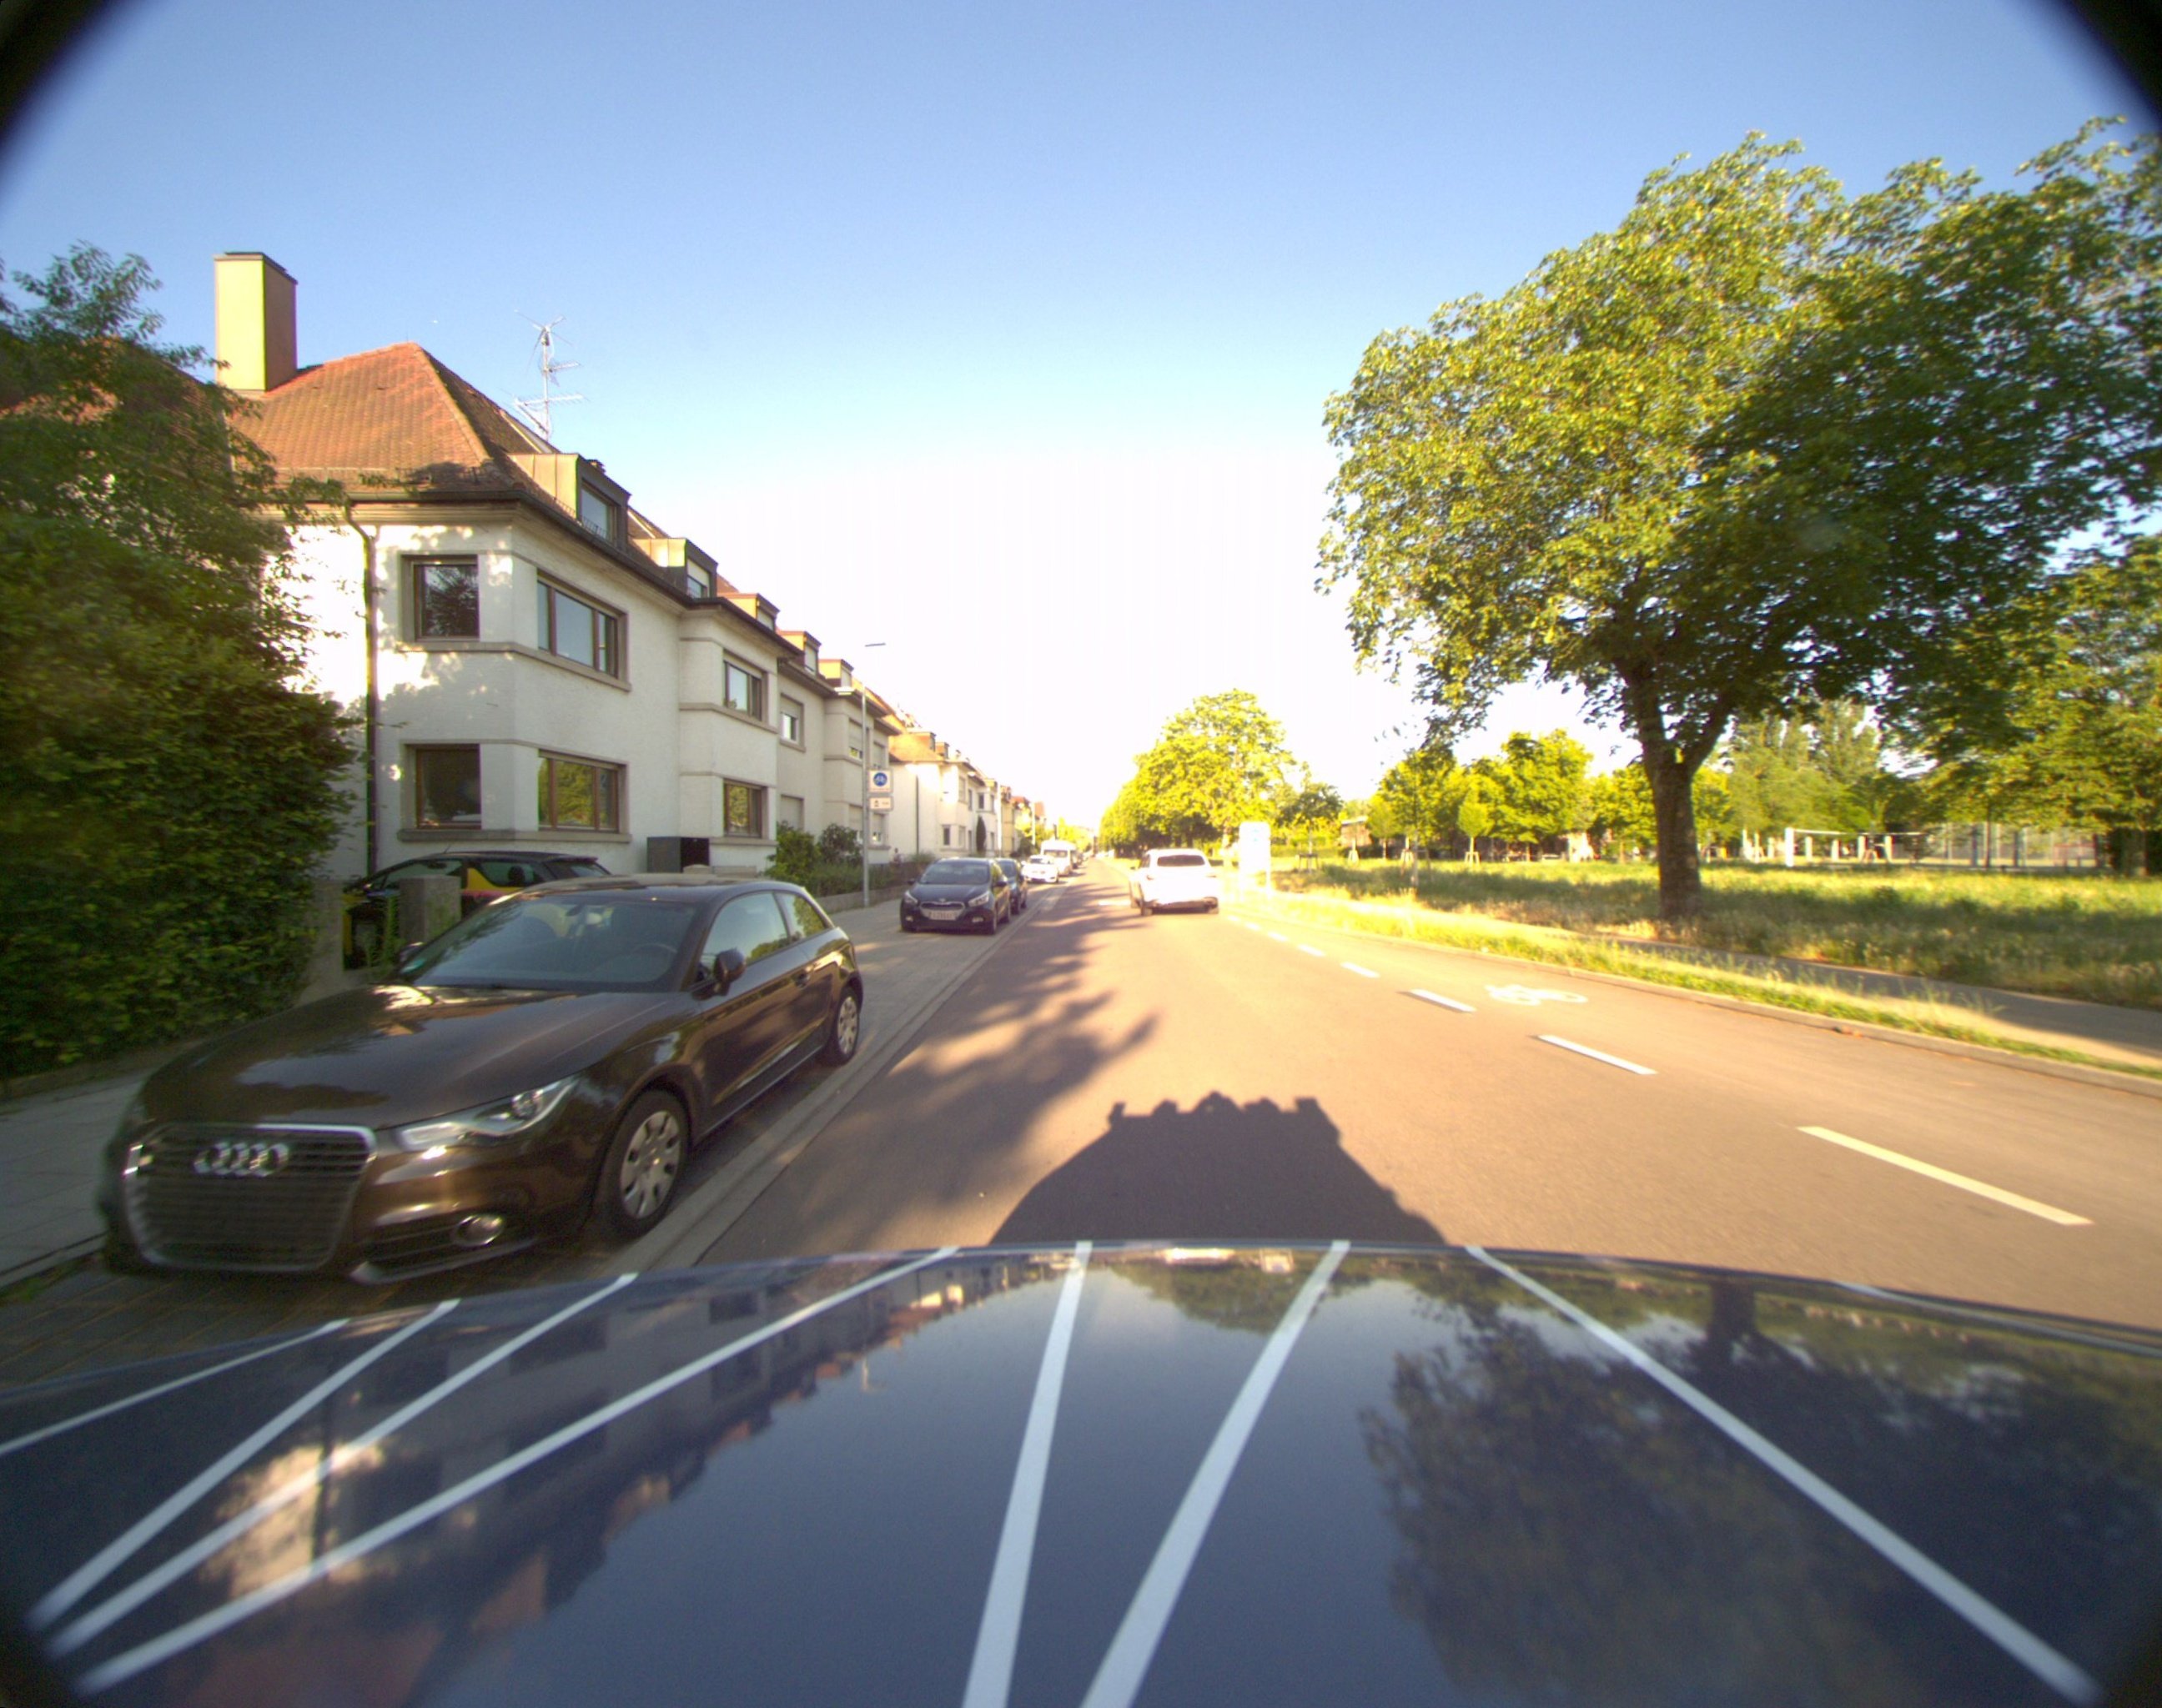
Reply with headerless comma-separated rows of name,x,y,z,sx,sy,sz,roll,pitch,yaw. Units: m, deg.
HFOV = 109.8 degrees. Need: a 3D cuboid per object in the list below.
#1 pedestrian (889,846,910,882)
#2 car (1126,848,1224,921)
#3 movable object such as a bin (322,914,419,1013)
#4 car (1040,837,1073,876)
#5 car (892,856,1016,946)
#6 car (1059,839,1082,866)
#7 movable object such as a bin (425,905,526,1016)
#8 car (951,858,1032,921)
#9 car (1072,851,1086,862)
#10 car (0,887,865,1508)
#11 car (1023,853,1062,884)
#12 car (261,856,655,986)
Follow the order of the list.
pedestrian,-10.117,0.540,42.321,1.089,2.002,0.865,-1,1,-14
car,2.323,0.683,19.844,1.896,1.667,4.424,-1,1,-1
movable object such as a bin,-7.350,1.118,7.878,0.509,0.938,0.502,-1,1,-5
car,-1.657,0.162,52.669,2.135,2.503,5.507,1,0,-1
car,-2.448,0.844,15.672,1.750,1.466,4.255,3,0,0
car,-1.131,-0.164,83.236,2.134,2.837,5.987,3,0,1
movable object such as a bin,-6.192,1.066,7.798,0.509,1.037,0.658,-1,1,-5
car,-2.365,0.895,20.995,1.722,1.463,3.983,2,1,0
car,-0.270,0.337,110.070,1.974,1.630,4.000,1,0,1
car,-2.551,0.995,3.977,1.645,1.419,3.936,1,1,1
car,-1.967,0.711,40.102,1.787,1.498,4.233,-1,1,0
car,-7.929,0.813,9.972,3.644,1.487,1.780,1,1,-3
